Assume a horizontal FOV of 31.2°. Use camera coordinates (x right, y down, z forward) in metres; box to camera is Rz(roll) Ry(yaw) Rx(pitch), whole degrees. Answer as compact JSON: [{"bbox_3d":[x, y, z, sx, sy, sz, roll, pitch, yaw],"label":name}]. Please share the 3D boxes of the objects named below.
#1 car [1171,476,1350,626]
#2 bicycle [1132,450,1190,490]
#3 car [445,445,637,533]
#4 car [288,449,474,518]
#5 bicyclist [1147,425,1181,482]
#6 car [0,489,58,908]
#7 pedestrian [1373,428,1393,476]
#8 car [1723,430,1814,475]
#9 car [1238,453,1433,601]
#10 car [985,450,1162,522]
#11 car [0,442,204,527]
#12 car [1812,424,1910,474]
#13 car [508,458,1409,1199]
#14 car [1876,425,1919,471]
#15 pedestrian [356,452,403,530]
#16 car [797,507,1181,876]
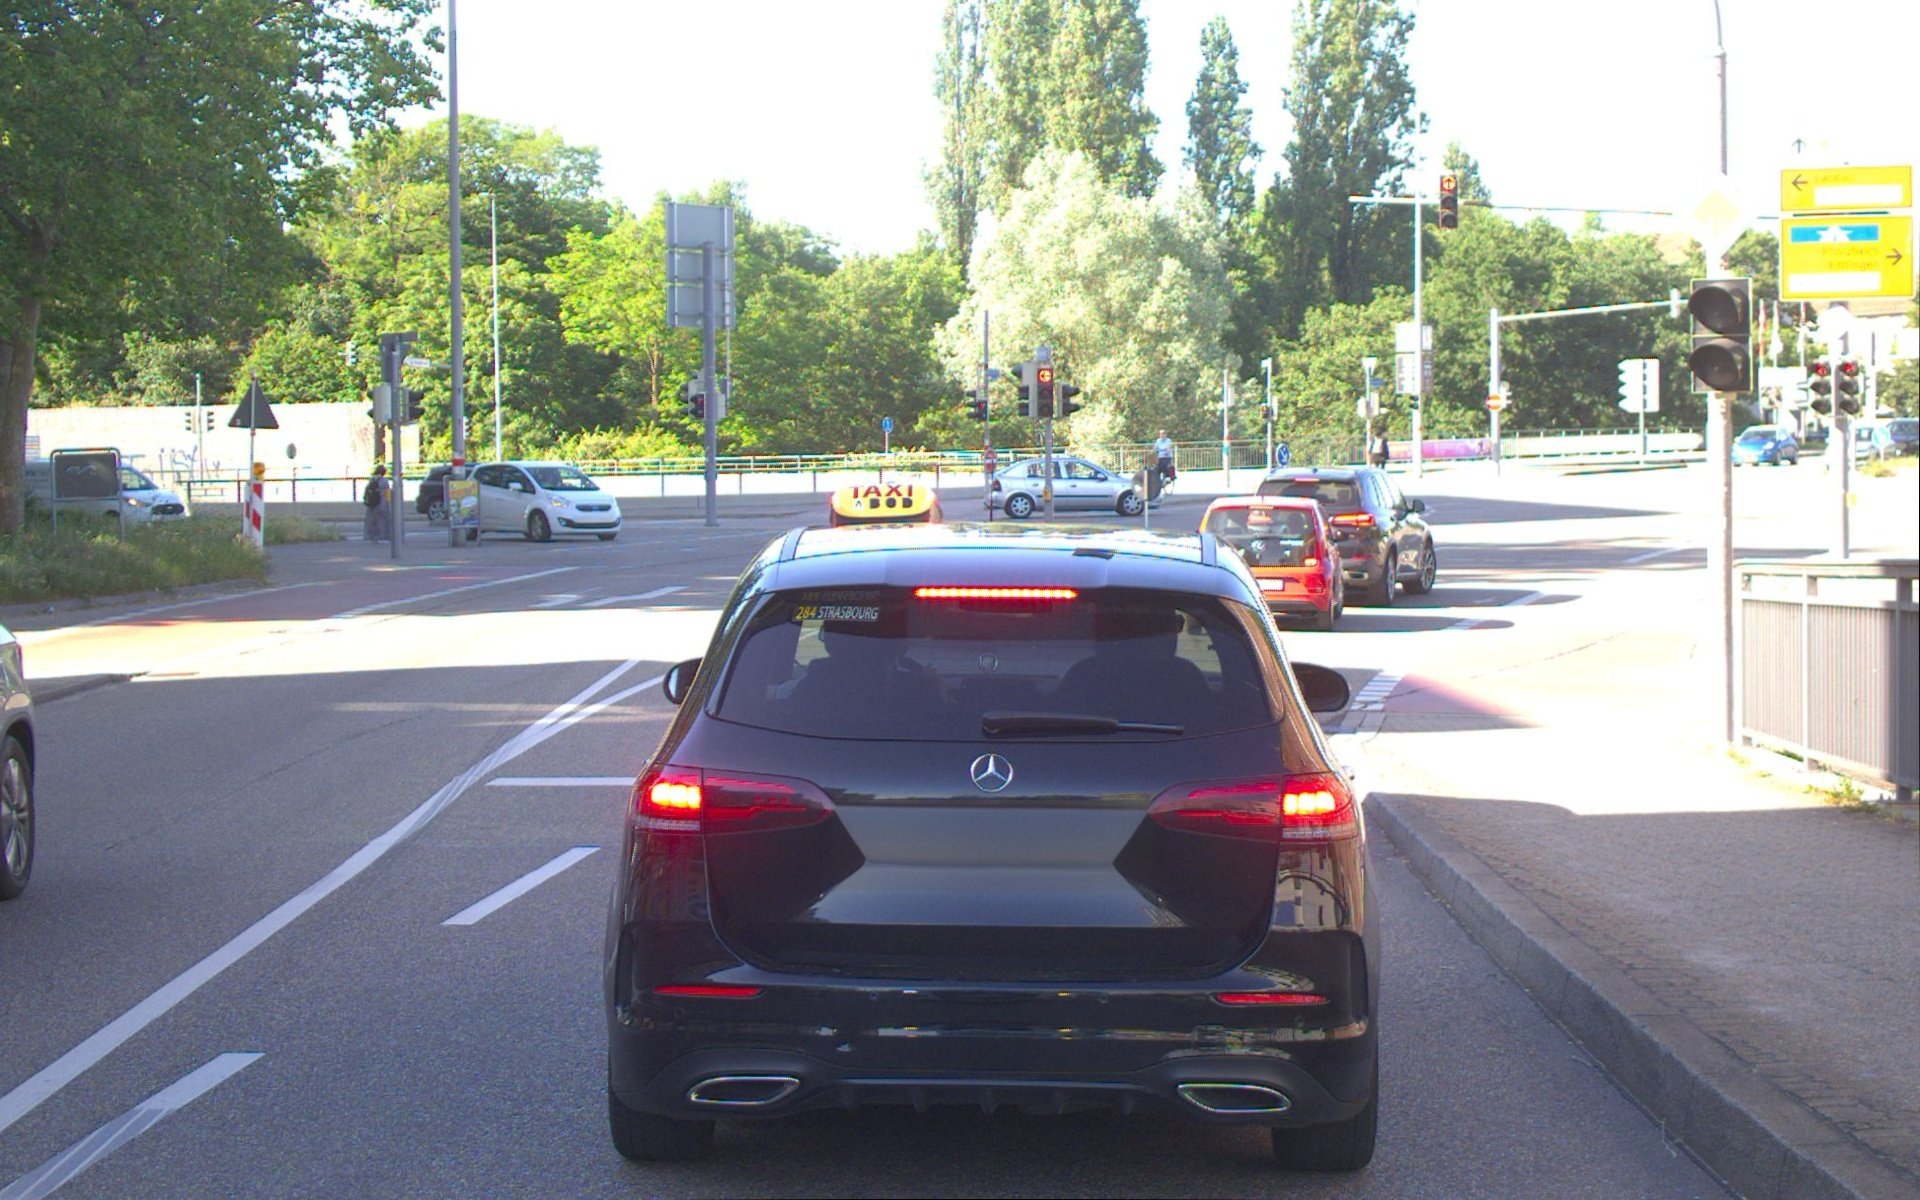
[{"bbox_3d":[3.467,-0.595,39.240,1.722,1.516,3.485,0,4,10],"label":"car"},{"bbox_3d":[5.515,-3.576,94.449,0.527,1.046,1.986,0,3,38],"label":"bicycle"},{"bbox_3d":[-8.384,-2.229,68.562,1.779,1.629,3.998,-5,5,-42],"label":"car"},{"bbox_3d":[-14.023,-2.827,83.338,3.990,1.624,1.889,0,2,17],"label":"car"},{"bbox_3d":[5.602,-4.026,94.532,0.527,1.545,0.805,0,3,38],"label":"bicyclist"},{"bbox_3d":[-4.570,0.426,12.208,1.804,1.618,4.001,-1,2,-3],"label":"car"},{"bbox_3d":[14.155,-4.941,115.020,0.451,1.580,0.500,0,3,40],"label":"pedestrian"},{"bbox_3d":[29.850,-5.452,126.823,1.882,1.573,3.992,1,3,36],"label":"car"},{"bbox_3d":[4.965,-0.994,44.960,1.723,1.805,4.294,0,3,17],"label":"car"},{"bbox_3d":[2.645,-2.686,80.689,3.986,1.624,1.891,-1,2,-3],"label":"car"},{"bbox_3d":[-19.573,-2.600,77.508,4.891,1.788,1.921,0,3,31],"label":"car"},{"bbox_3d":[30.057,-5.043,114.635,1.882,1.573,3.992,1,3,36],"label":"car"},{"bbox_3d":[-0.027,0.464,9.247,1.878,1.608,4.000,1,2,-1],"label":"car"},{"bbox_3d":[33.547,-5.305,119.790,1.882,1.573,3.992,1,3,36],"label":"car"},{"bbox_3d":[-11.479,-2.151,67.951,0.705,1.520,0.743,1,2,10],"label":"pedestrian"},{"bbox_3d":[0.177,0.353,16.703,1.640,1.524,3.474,-1,2,2],"label":"car"}]
